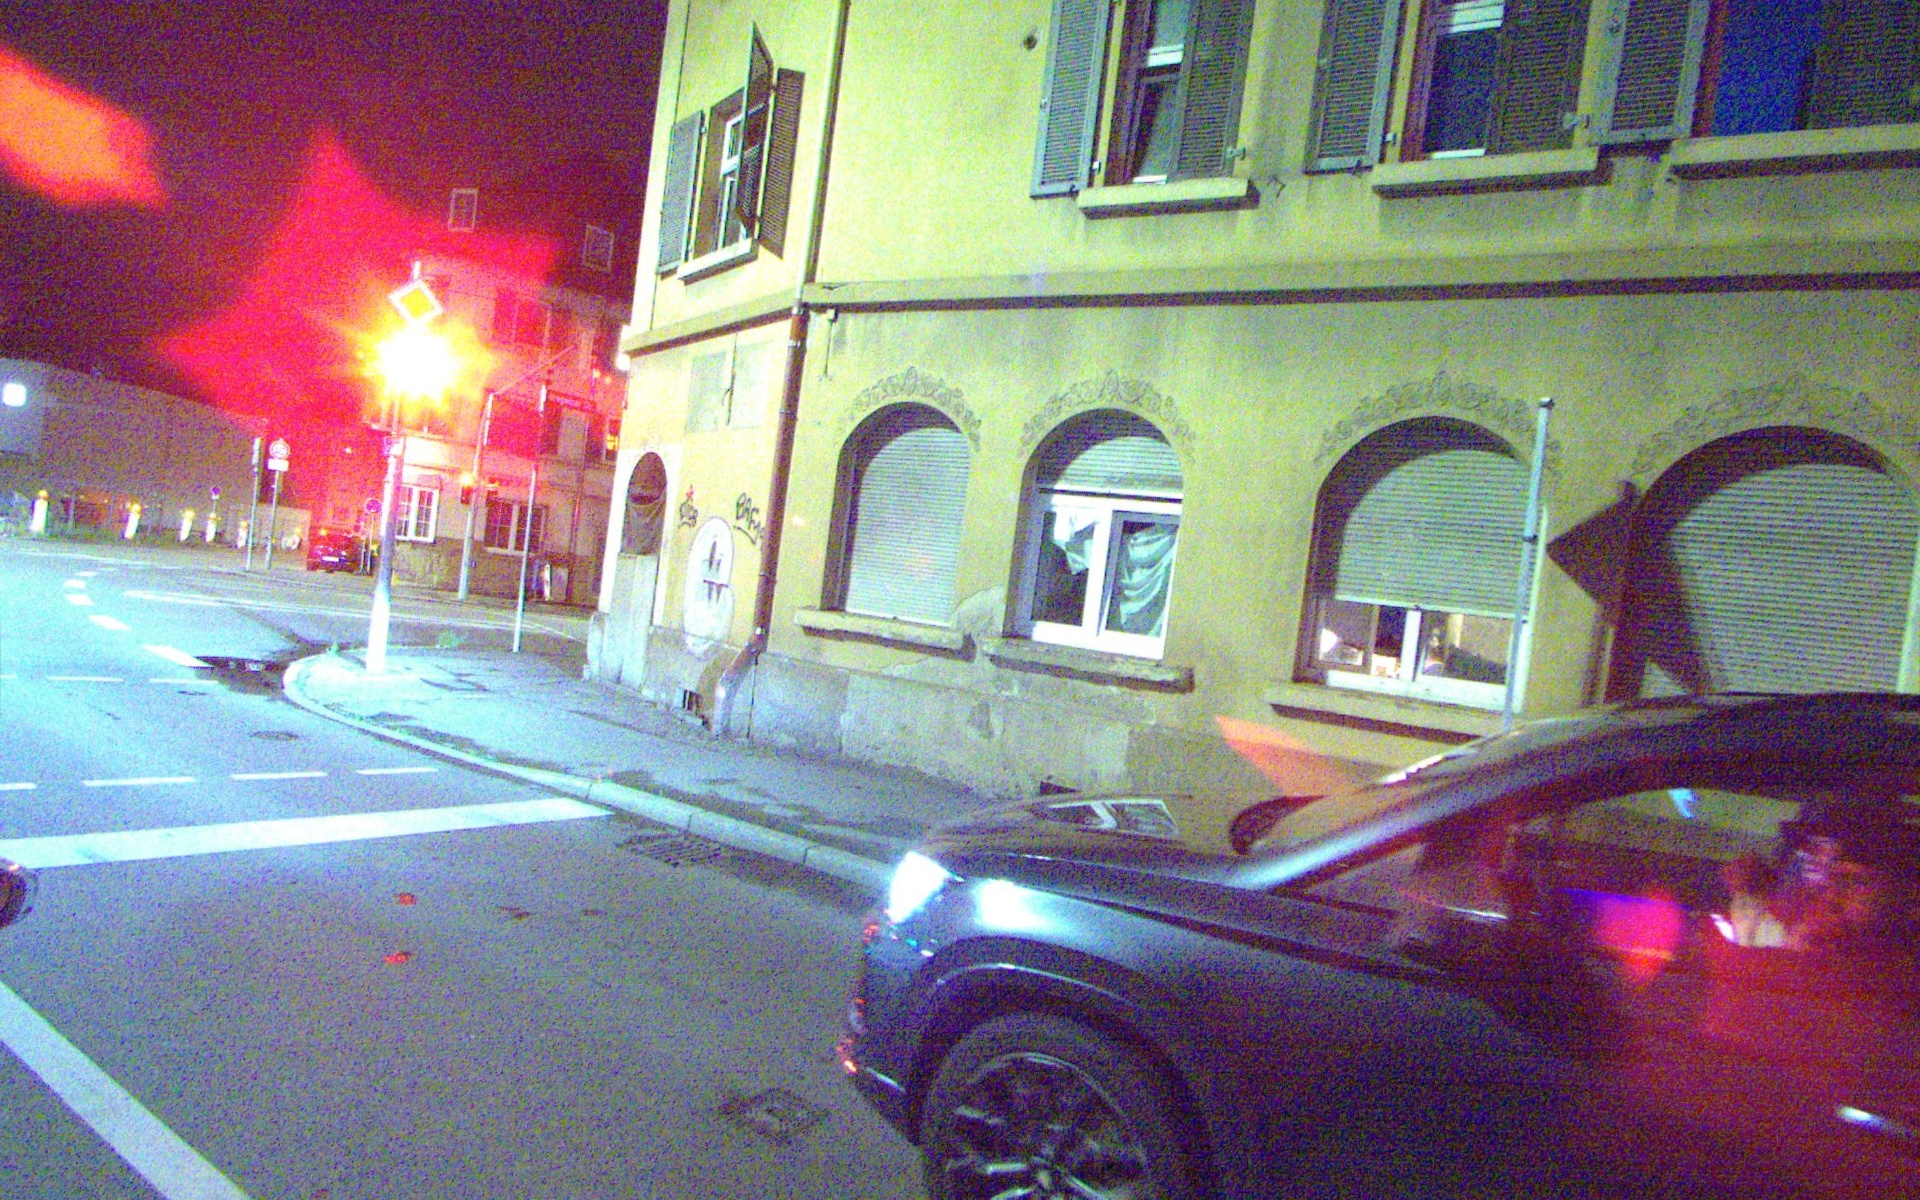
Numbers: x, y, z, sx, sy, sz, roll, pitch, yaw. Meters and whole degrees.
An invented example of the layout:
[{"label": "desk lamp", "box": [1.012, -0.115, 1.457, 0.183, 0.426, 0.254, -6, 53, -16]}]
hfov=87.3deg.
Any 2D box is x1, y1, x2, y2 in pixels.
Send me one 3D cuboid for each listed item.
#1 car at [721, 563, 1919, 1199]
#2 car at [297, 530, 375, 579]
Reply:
[{"label": "car", "box": [1.692, 0.970, 2.225, 4.157, 1.629, 1.674, 6, -1, 29]}, {"label": "car", "box": [-24.646, -1.750, 39.853, 1.708, 1.631, 3.610, 7, -1, -19]}]
